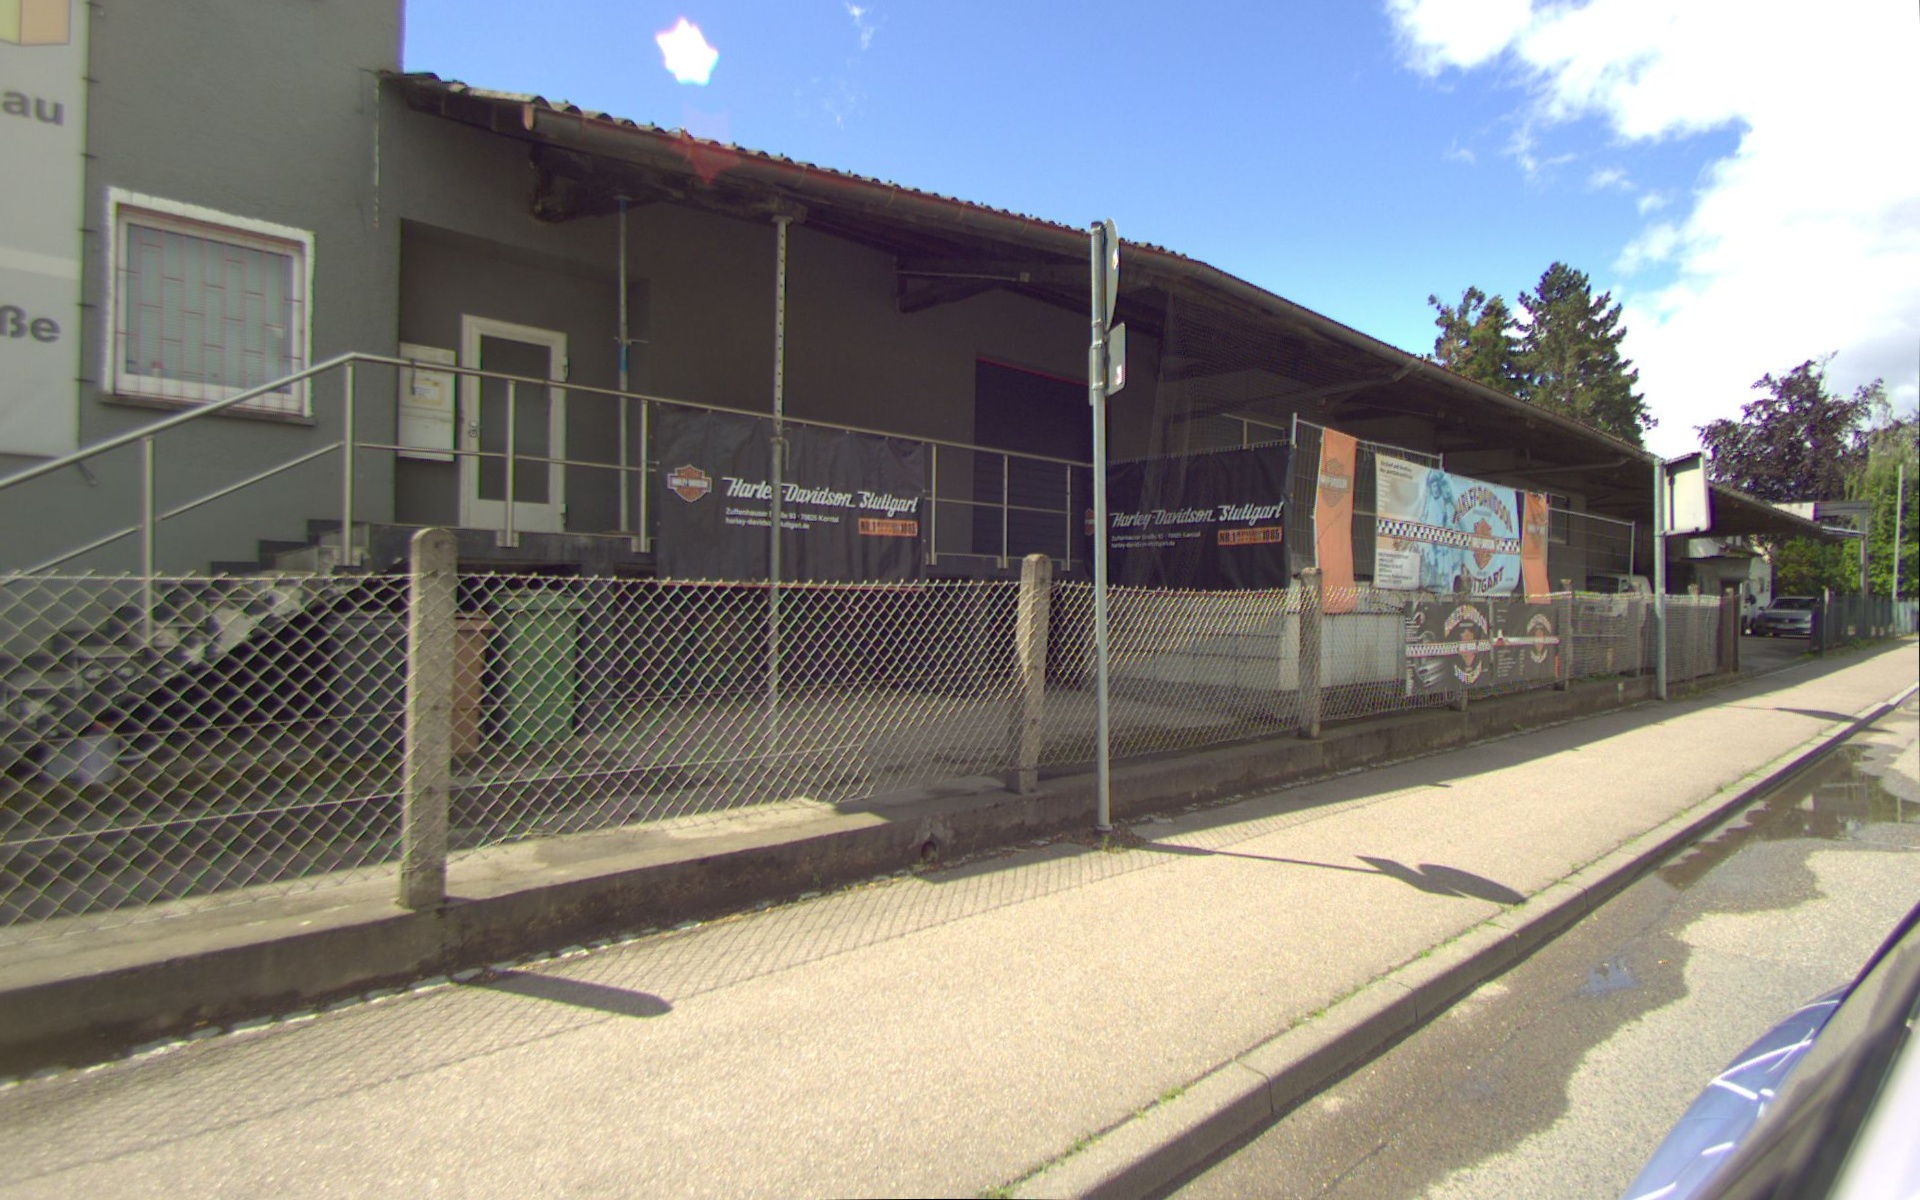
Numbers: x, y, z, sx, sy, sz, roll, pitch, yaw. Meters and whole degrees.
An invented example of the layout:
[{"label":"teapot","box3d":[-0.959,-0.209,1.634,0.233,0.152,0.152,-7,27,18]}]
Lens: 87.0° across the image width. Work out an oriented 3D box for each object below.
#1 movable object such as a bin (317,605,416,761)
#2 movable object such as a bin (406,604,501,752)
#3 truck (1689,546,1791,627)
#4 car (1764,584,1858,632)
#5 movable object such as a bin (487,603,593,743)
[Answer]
[{"label":"movable object such as a bin","box3d":[-3.820,0.509,6.515,0.466,0.942,0.482,0,0,-42]},{"label":"movable object such as a bin","box3d":[-3.437,0.503,6.865,0.466,0.942,0.482,0,0,-42]},{"label":"truck","box3d":[29.517,-0.513,38.233,5.112,2.864,2.089,-1,0,-41]},{"label":"car","box3d":[29.864,0.227,35.444,5.114,1.549,1.860,-1,1,-42]},{"label":"movable object such as a bin","box3d":[-3.013,0.498,7.257,0.574,0.942,0.482,0,0,-42]}]
